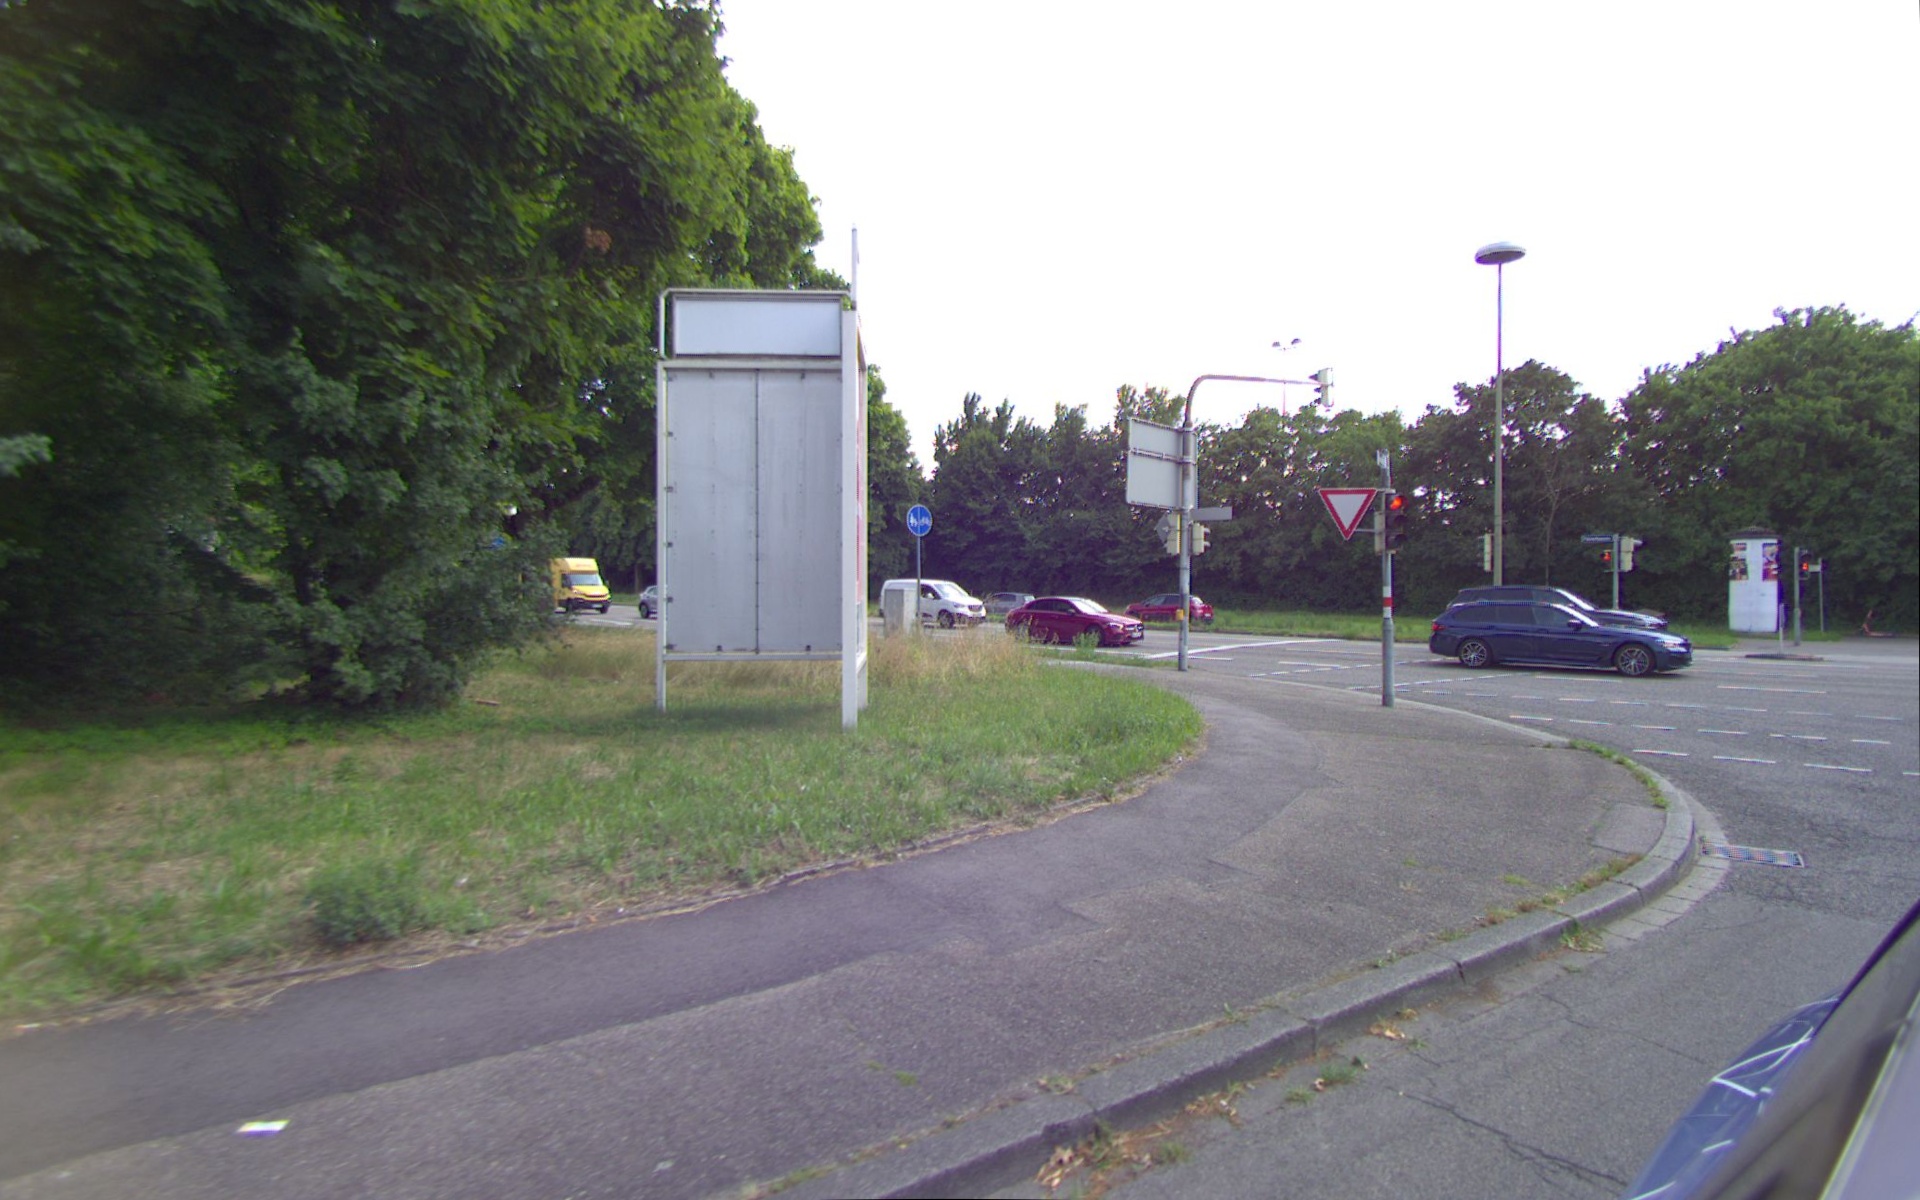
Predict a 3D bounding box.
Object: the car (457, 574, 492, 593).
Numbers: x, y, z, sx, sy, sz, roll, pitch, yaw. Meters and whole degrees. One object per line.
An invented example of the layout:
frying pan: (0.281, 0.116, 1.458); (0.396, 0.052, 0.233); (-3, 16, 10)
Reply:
car: (-47.888, -1.634, 99.722); (4.239, 1.816, 1.651); (1, 2, 43)

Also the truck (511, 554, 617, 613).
truck: (-20.872, -0.885, 53.095); (6.941, 2.895, 2.330); (1, 3, 43)

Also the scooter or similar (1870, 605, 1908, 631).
scooter or similar: (35.589, 0.689, 38.758); (0.292, 0.953, 1.035); (-2, 3, -40)

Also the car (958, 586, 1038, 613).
car: (1.952, -0.040, 52.484); (4.063, 1.390, 1.576); (0, 0, 40)

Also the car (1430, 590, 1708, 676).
car: (12.899, 0.607, 21.662); (4.855, 1.515, 1.775); (1, 3, 43)

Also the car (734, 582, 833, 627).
car: (-7.015, 0.119, 39.965); (4.160, 1.631, 1.702); (1, 3, 43)

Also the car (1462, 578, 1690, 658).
car: (15.031, 0.353, 24.858); (4.533, 1.767, 1.791); (1, 2, 43)

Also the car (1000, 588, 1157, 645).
car: (3.483, 0.434, 30.301); (4.518, 1.480, 1.703); (1, 3, 43)

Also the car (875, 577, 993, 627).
car: (-1.066, 0.011, 39.466); (4.713, 1.820, 1.744); (1, 2, 43)

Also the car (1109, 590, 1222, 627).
car: (8.635, 0.304, 42.772); (4.435, 1.483, 1.752); (1, 0, 40)
